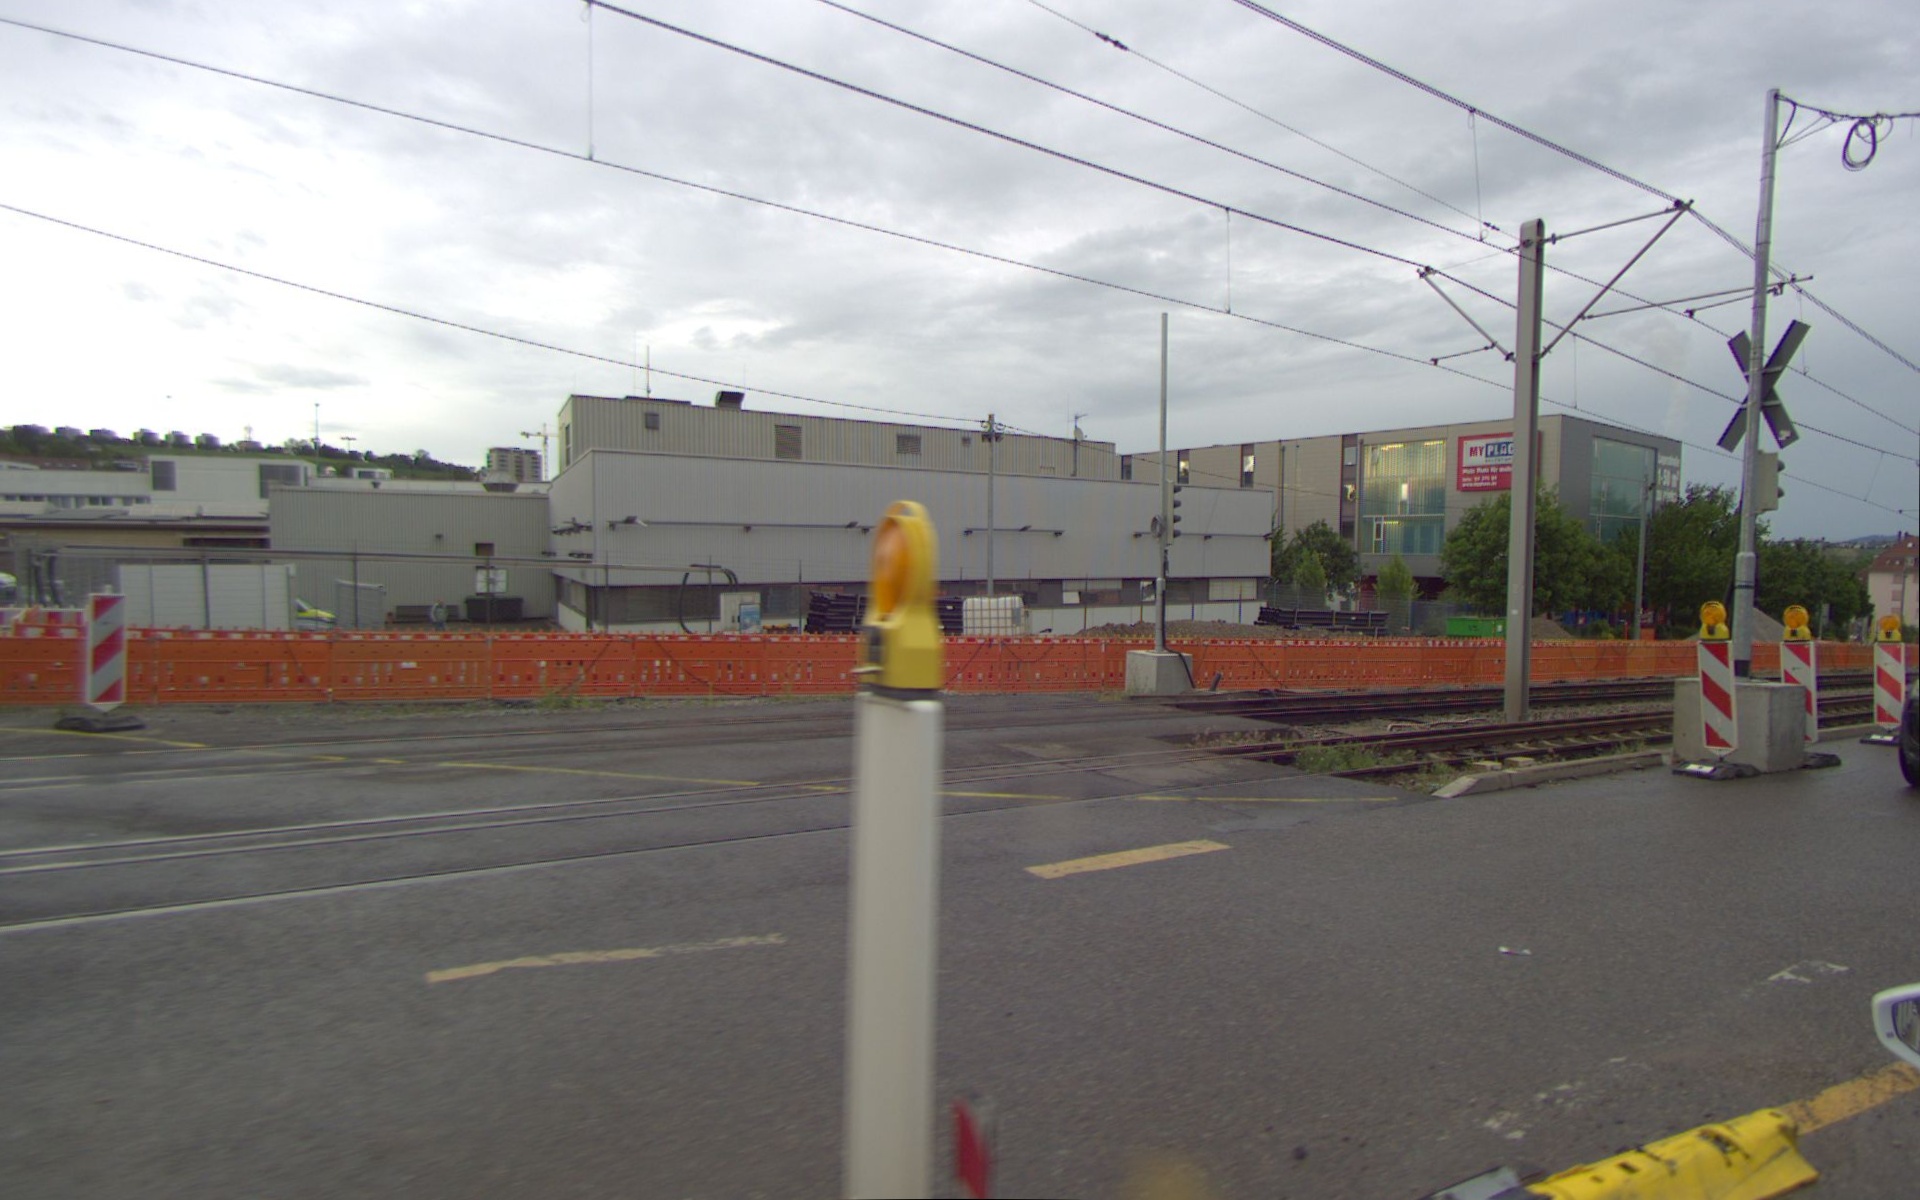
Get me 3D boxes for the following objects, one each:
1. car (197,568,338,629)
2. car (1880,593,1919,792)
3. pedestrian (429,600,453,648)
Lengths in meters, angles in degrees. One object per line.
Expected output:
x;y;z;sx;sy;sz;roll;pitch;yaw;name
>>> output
-24.770;-0.037;35.989;3.969;2.040;1.976;1;0;-41;car
10.469;0.844;9.278;4.443;1.700;1.980;1;0;-35;car
-19.920;0.907;38.558;0.755;1.814;0.703;1;1;-34;pedestrian
